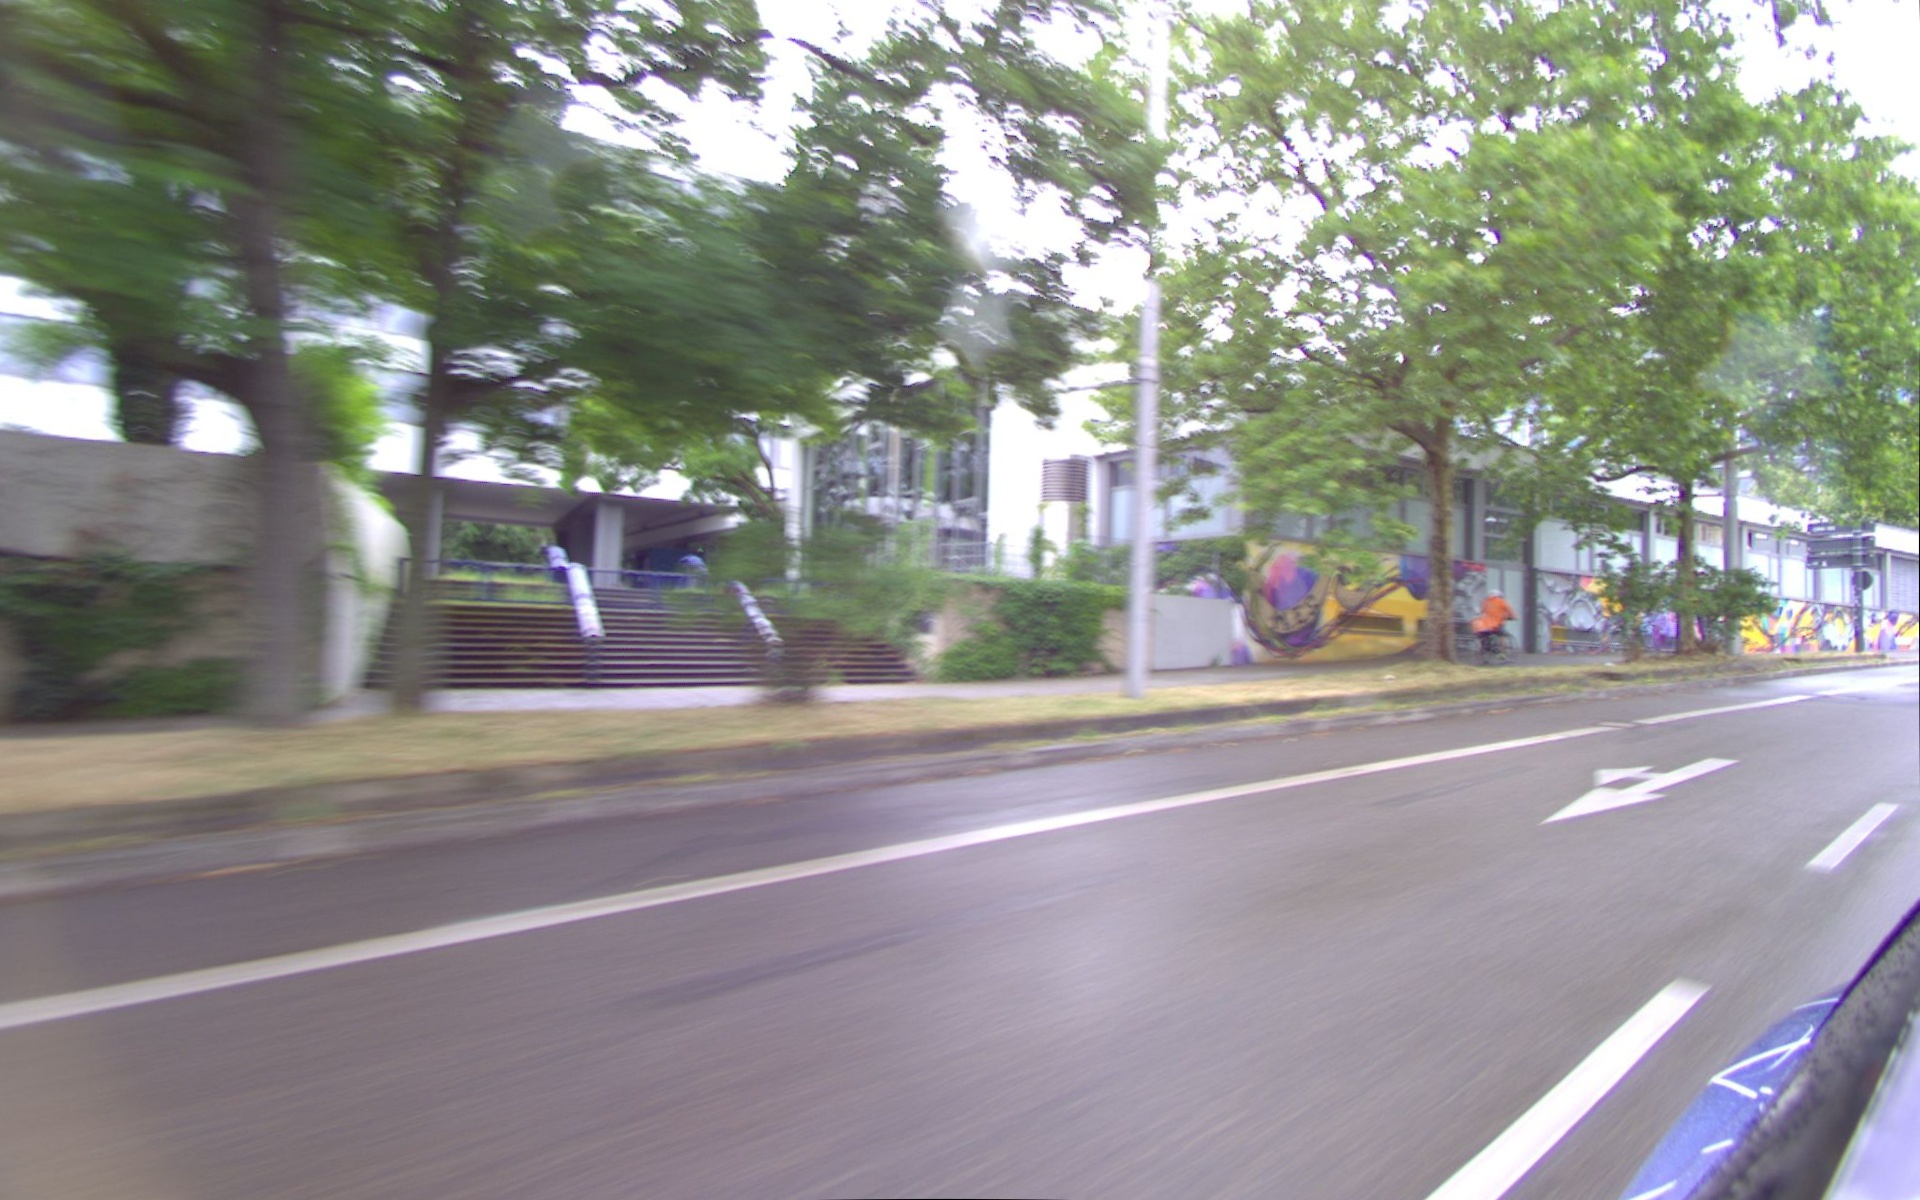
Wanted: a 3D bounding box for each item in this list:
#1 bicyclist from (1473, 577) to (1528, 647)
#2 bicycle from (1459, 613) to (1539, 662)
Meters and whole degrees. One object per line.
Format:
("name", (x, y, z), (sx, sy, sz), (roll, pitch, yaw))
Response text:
("bicyclist", (13.221, 0.291, 24.756), (1.026, 1.649, 0.809), (1, -1, -34))
("bicycle", (13.177, 0.893, 24.711), (2.155, 1.126, 0.809), (1, -1, -34))
